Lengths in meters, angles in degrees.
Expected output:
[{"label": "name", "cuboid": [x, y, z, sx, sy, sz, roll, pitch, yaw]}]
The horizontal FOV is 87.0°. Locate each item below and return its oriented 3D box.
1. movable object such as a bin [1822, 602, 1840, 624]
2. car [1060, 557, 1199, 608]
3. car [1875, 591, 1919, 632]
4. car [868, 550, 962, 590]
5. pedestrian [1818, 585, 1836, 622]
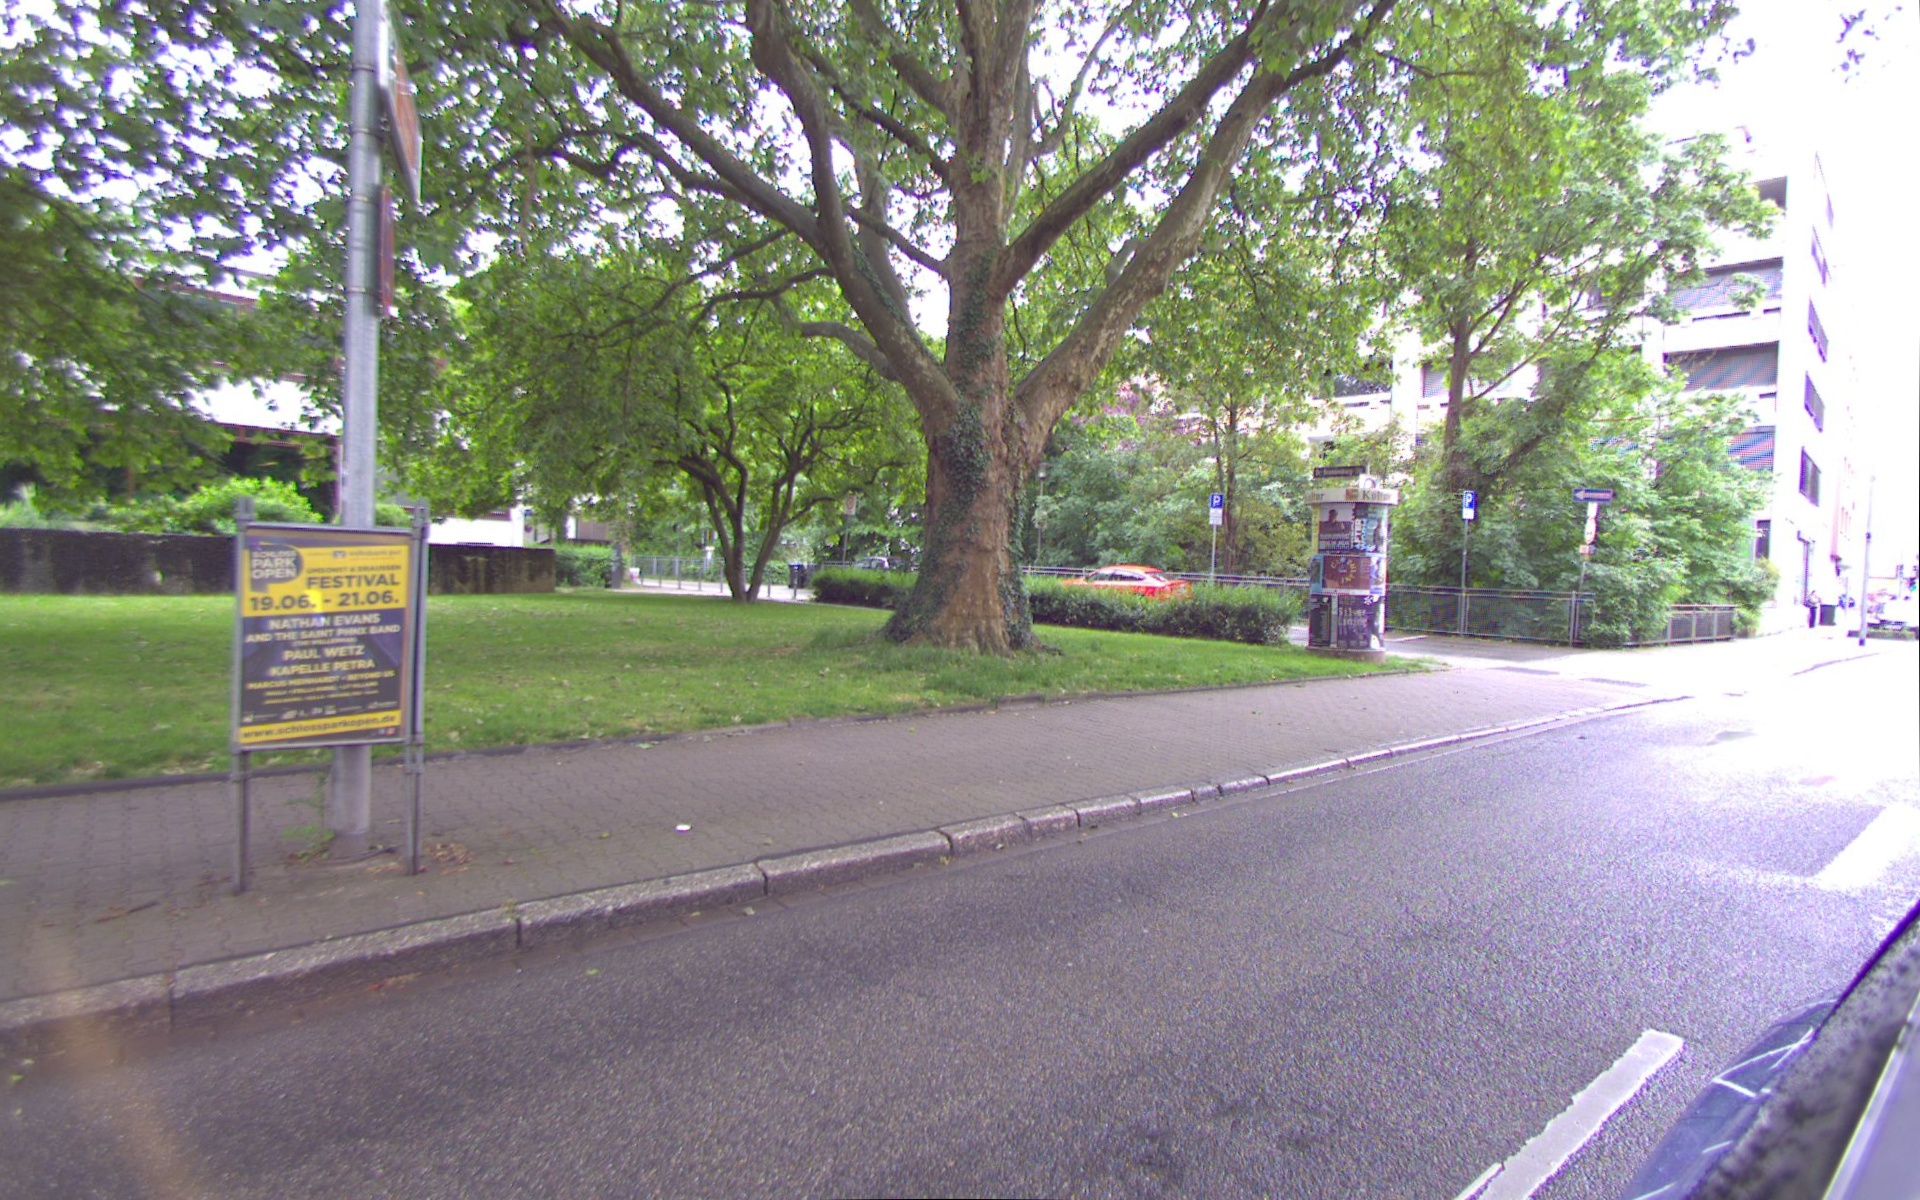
[{"label": "movable object such as a bin", "cuboid": [41.920, 0.616, 48.711, 0.287, 1.054, 0.556, 0, 3, -41]}, {"label": "car", "cuboid": [4.887, -0.543, 29.489, 1.551, 1.294, 3.784, -1, 4, -44]}, {"label": "car", "cuboid": [37.413, 0.452, 39.738, 3.617, 1.449, 1.681, 0, 6, -41]}, {"label": "car", "cuboid": [-1.672, -1.117, 36.705, 3.460, 1.294, 1.426, 5, 4, 45]}, {"label": "pedestrian", "cuboid": [36.419, 0.134, 42.514, 0.473, 1.549, 0.480, 0, 0, -41]}]
